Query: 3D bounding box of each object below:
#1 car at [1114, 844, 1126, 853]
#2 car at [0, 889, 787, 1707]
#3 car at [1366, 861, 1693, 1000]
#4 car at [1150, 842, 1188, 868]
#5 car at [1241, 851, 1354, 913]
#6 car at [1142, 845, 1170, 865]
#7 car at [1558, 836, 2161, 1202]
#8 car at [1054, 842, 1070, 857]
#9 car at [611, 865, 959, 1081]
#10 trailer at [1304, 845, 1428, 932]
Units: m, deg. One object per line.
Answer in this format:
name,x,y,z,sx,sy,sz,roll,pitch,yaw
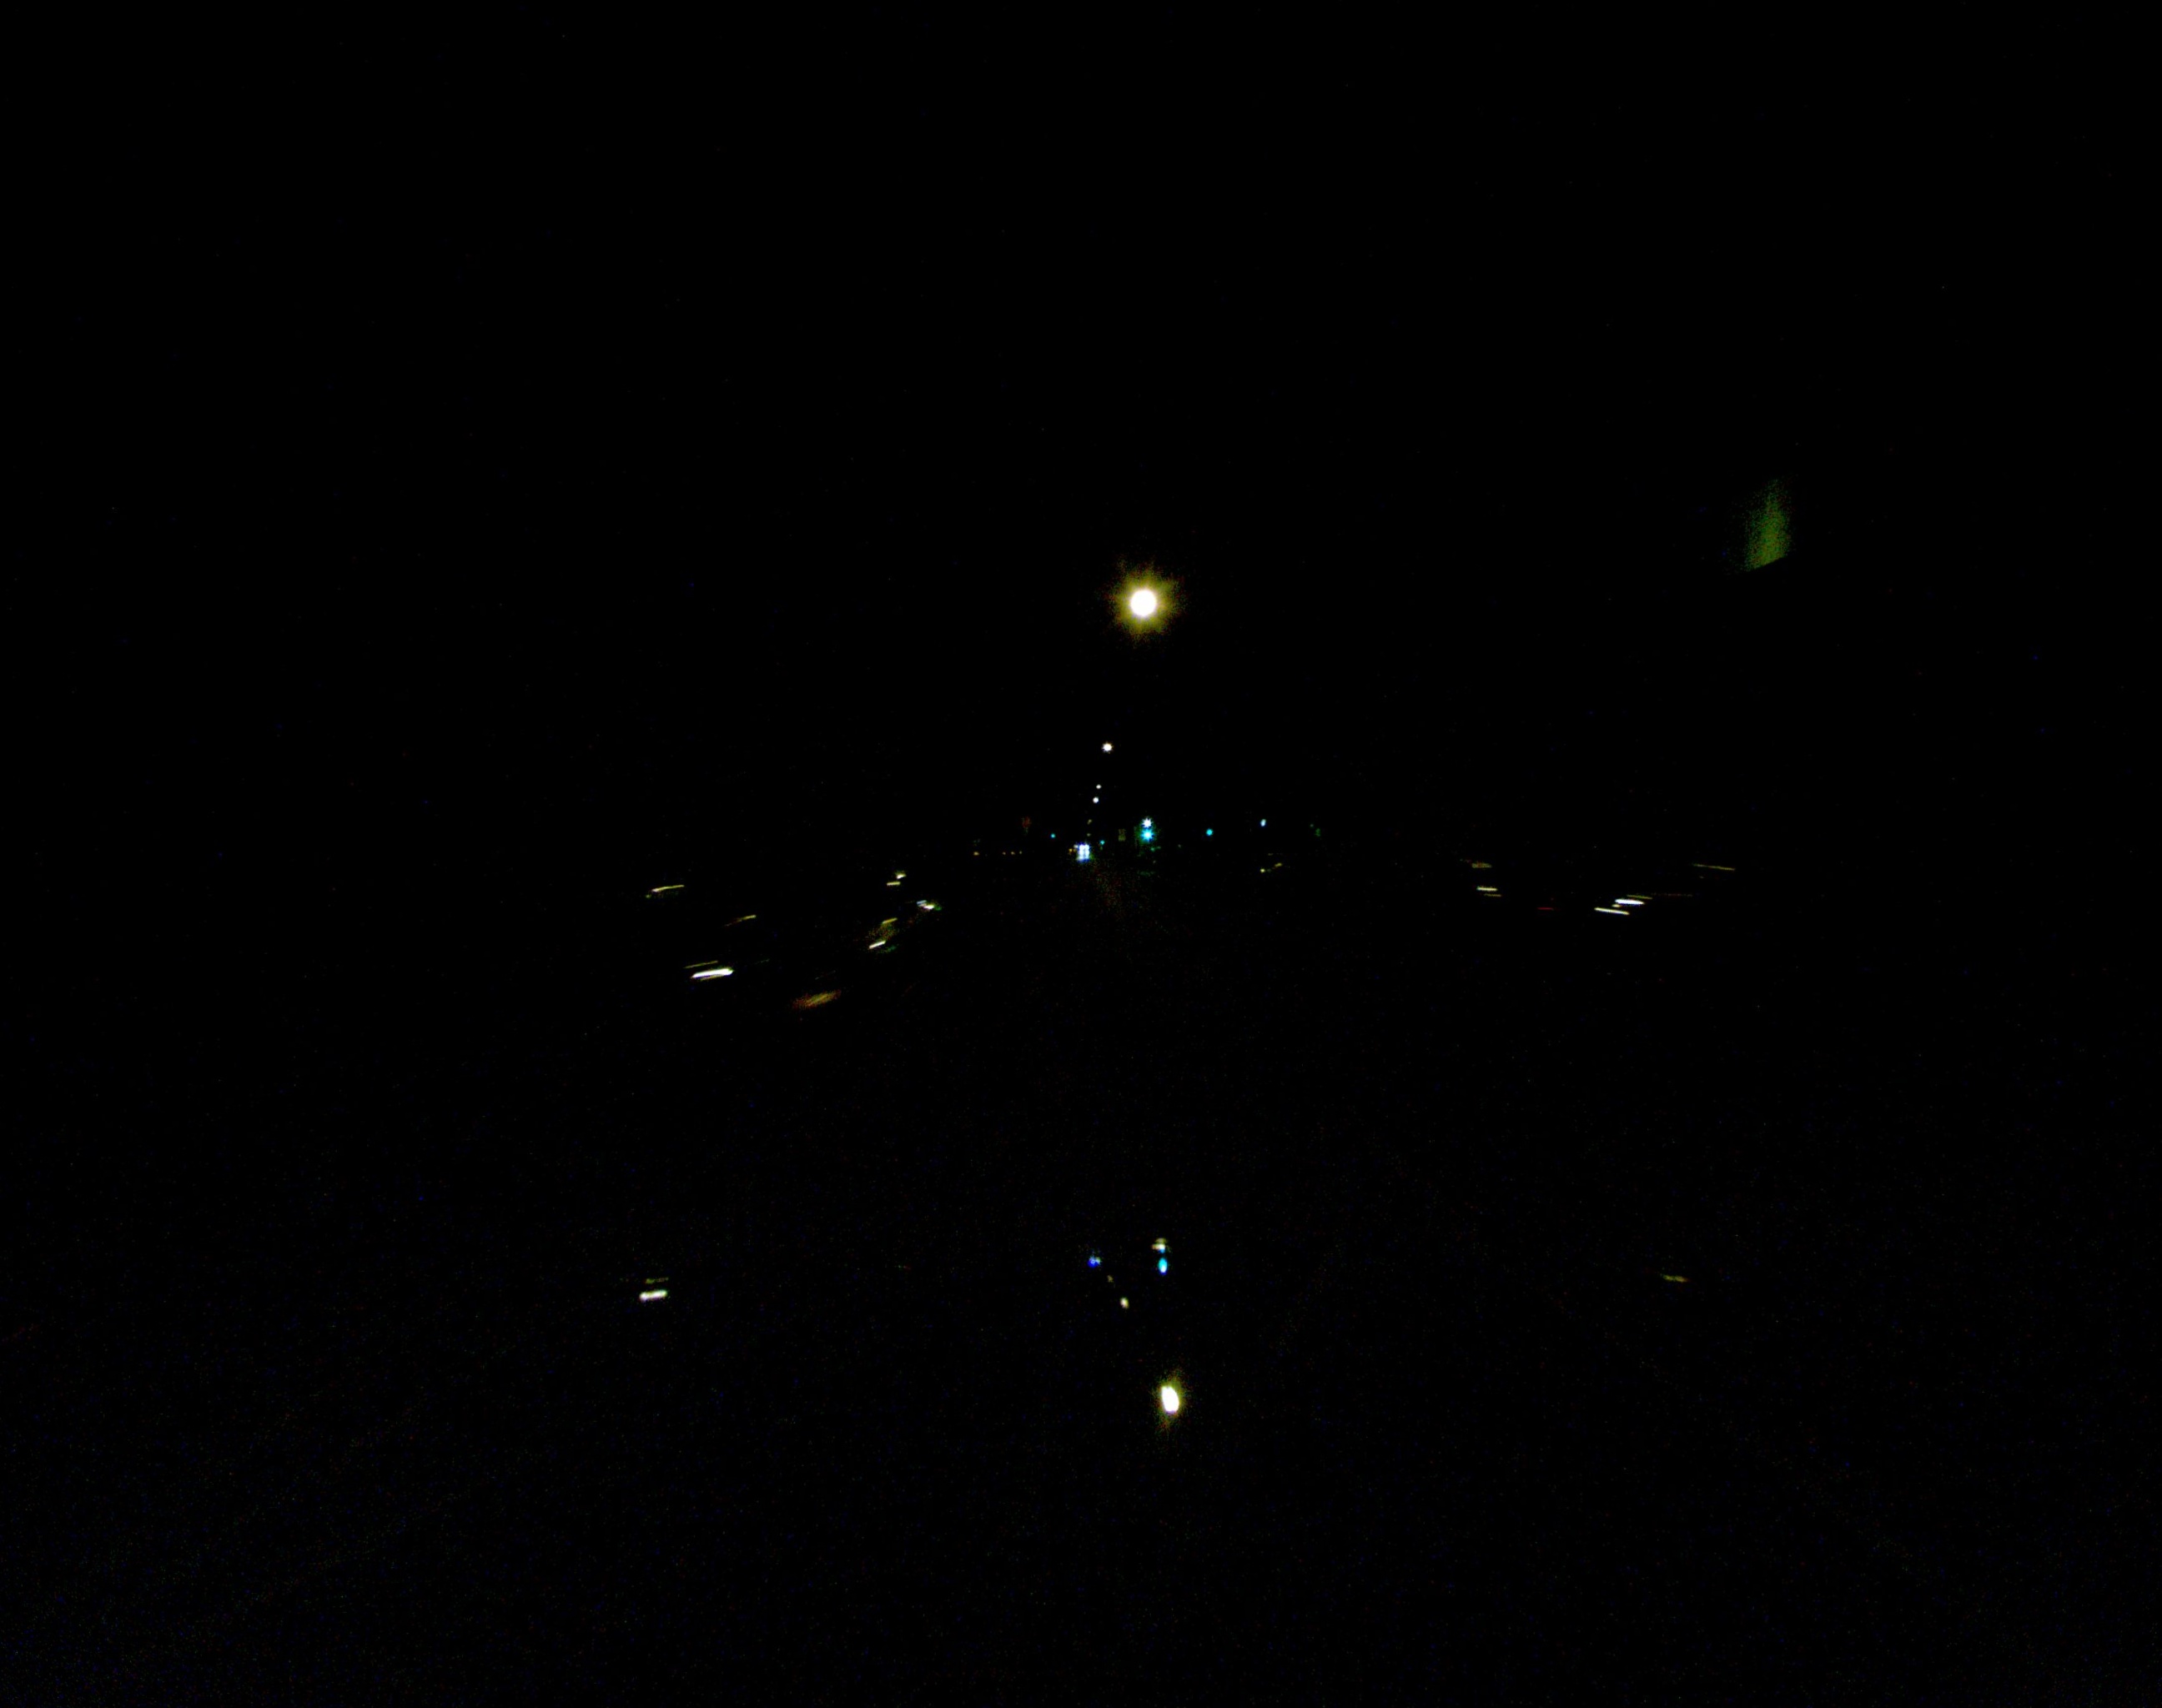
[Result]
car,6.633,-0.942,130.532,1.731,1.477,4.290,-2,1,-1
car,-2.698,0.970,2.647,1.775,1.439,4.018,0,1,0
car,5.768,0.858,10.598,1.840,1.438,4.544,-1,0,-1
car,6.117,0.064,53.328,1.853,1.641,4.670,-2,0,-3
car,5.861,0.688,21.127,1.819,1.476,4.346,-1,1,-1
car,5.947,0.058,60.698,1.652,1.506,3.700,-2,1,-3
car,5.792,0.713,5.498,1.839,1.609,4.544,-2,1,1
car,-2.385,-0.602,95.637,1.916,1.816,4.898,-1,1,-2
car,-2.599,0.931,8.030,1.850,1.409,4.644,2,1,0
trailer,6.114,0.670,16.684,1.641,1.630,3.439,-2,1,5
